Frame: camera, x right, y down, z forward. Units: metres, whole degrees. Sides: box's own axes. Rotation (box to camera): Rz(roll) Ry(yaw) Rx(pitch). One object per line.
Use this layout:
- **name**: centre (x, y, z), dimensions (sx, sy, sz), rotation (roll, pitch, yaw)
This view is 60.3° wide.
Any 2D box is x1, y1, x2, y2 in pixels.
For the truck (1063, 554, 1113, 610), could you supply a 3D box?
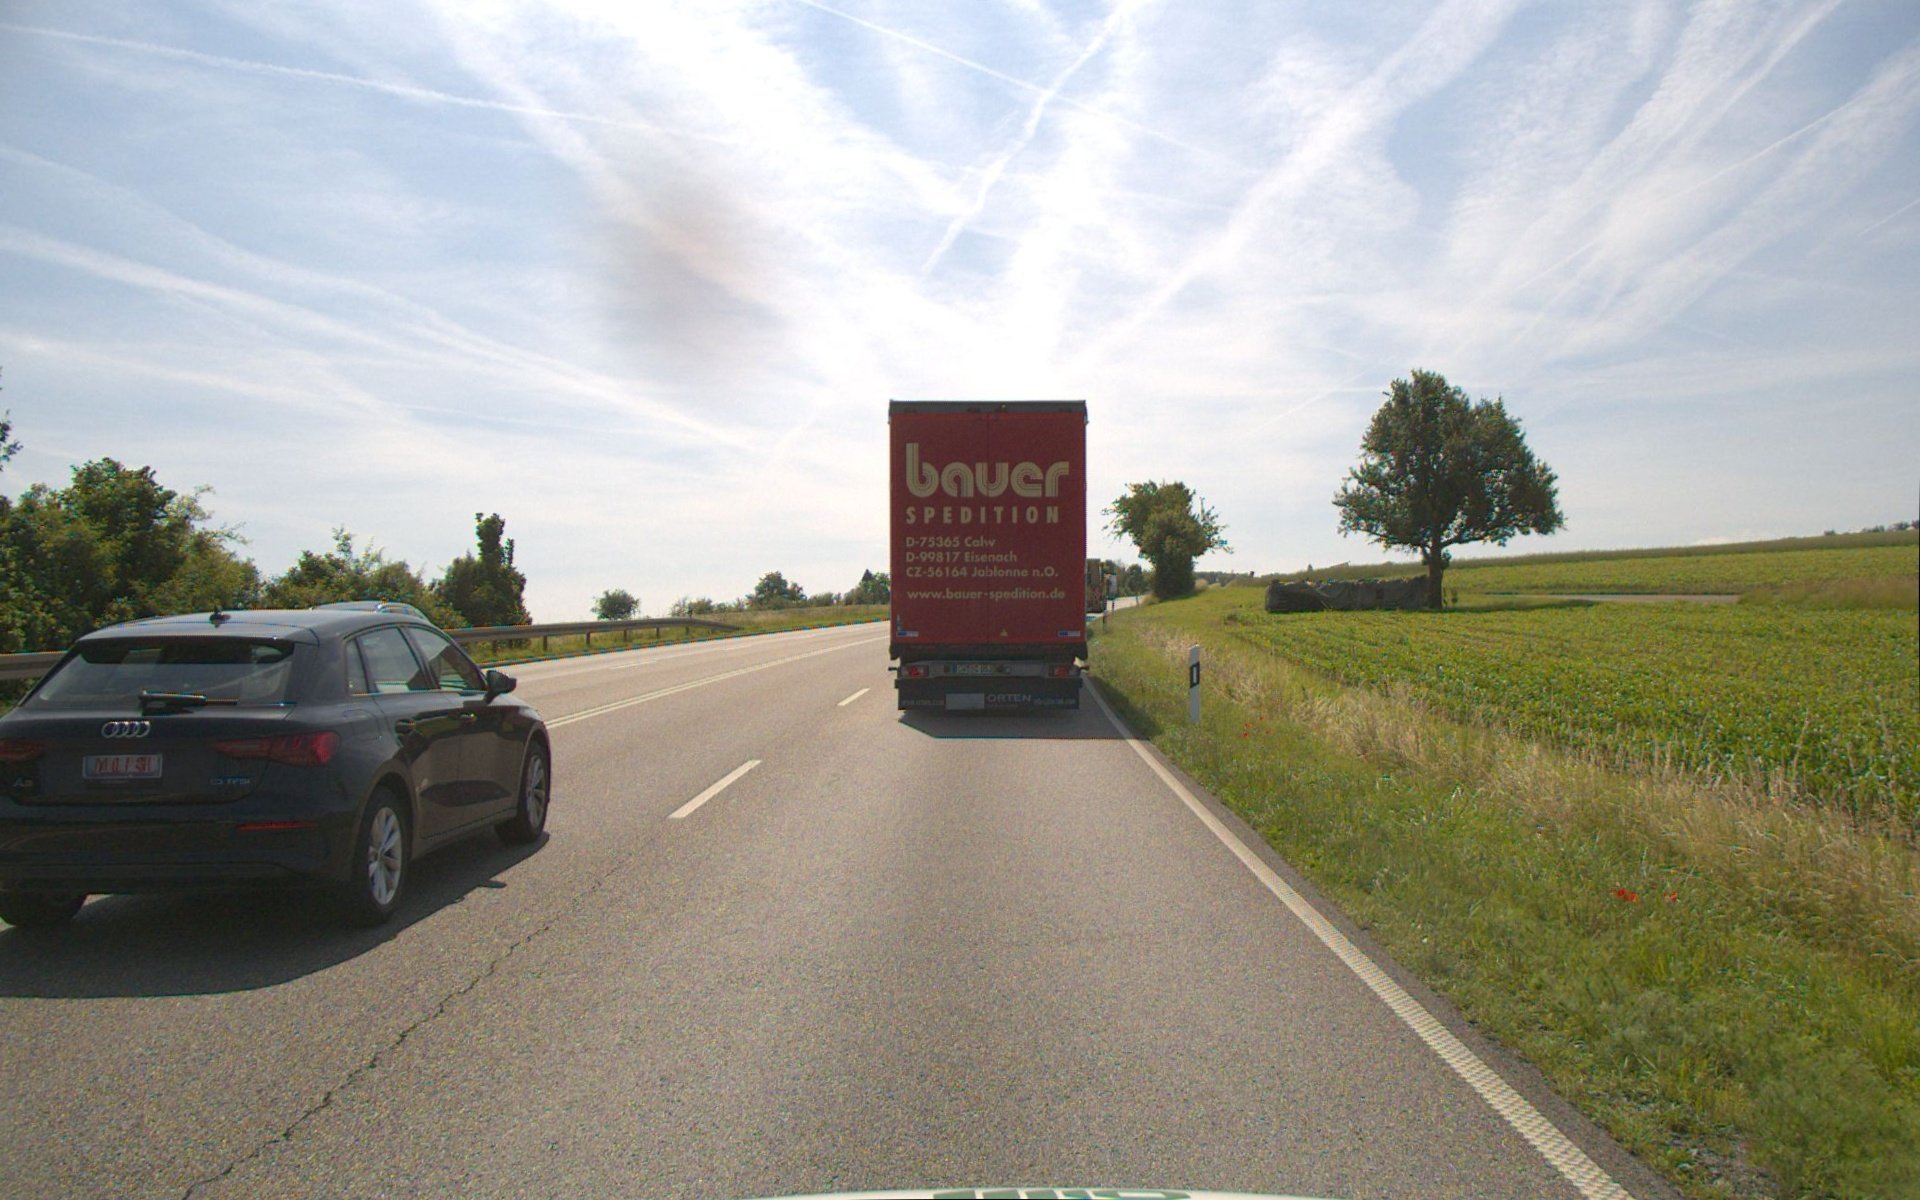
- **truck**: centre (10.043, -1.338, 128.146), dimensions (2.982, 3.978, 18.411), rotation (-1, 0, 7)

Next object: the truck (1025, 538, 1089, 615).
- **truck**: centre (5.712, -1.264, 94.623), dimensions (2.982, 3.978, 15.626), rotation (-1, 0, 6)

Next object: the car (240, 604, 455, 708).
- **car**: centre (-9.681, 0.824, 26.510), dimensions (1.798, 1.481, 4.326), rotation (-1, 0, 0)

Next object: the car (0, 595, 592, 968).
- **car**: centre (-3.401, 0.741, 9.077), dimensions (1.670, 1.498, 4.811), rotation (0, 0, 0)

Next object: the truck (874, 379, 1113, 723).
- **truck**: centre (0.466, -0.628, 28.882), dimensions (2.945, 4.253, 16.714), rotation (0, 0, 0)
